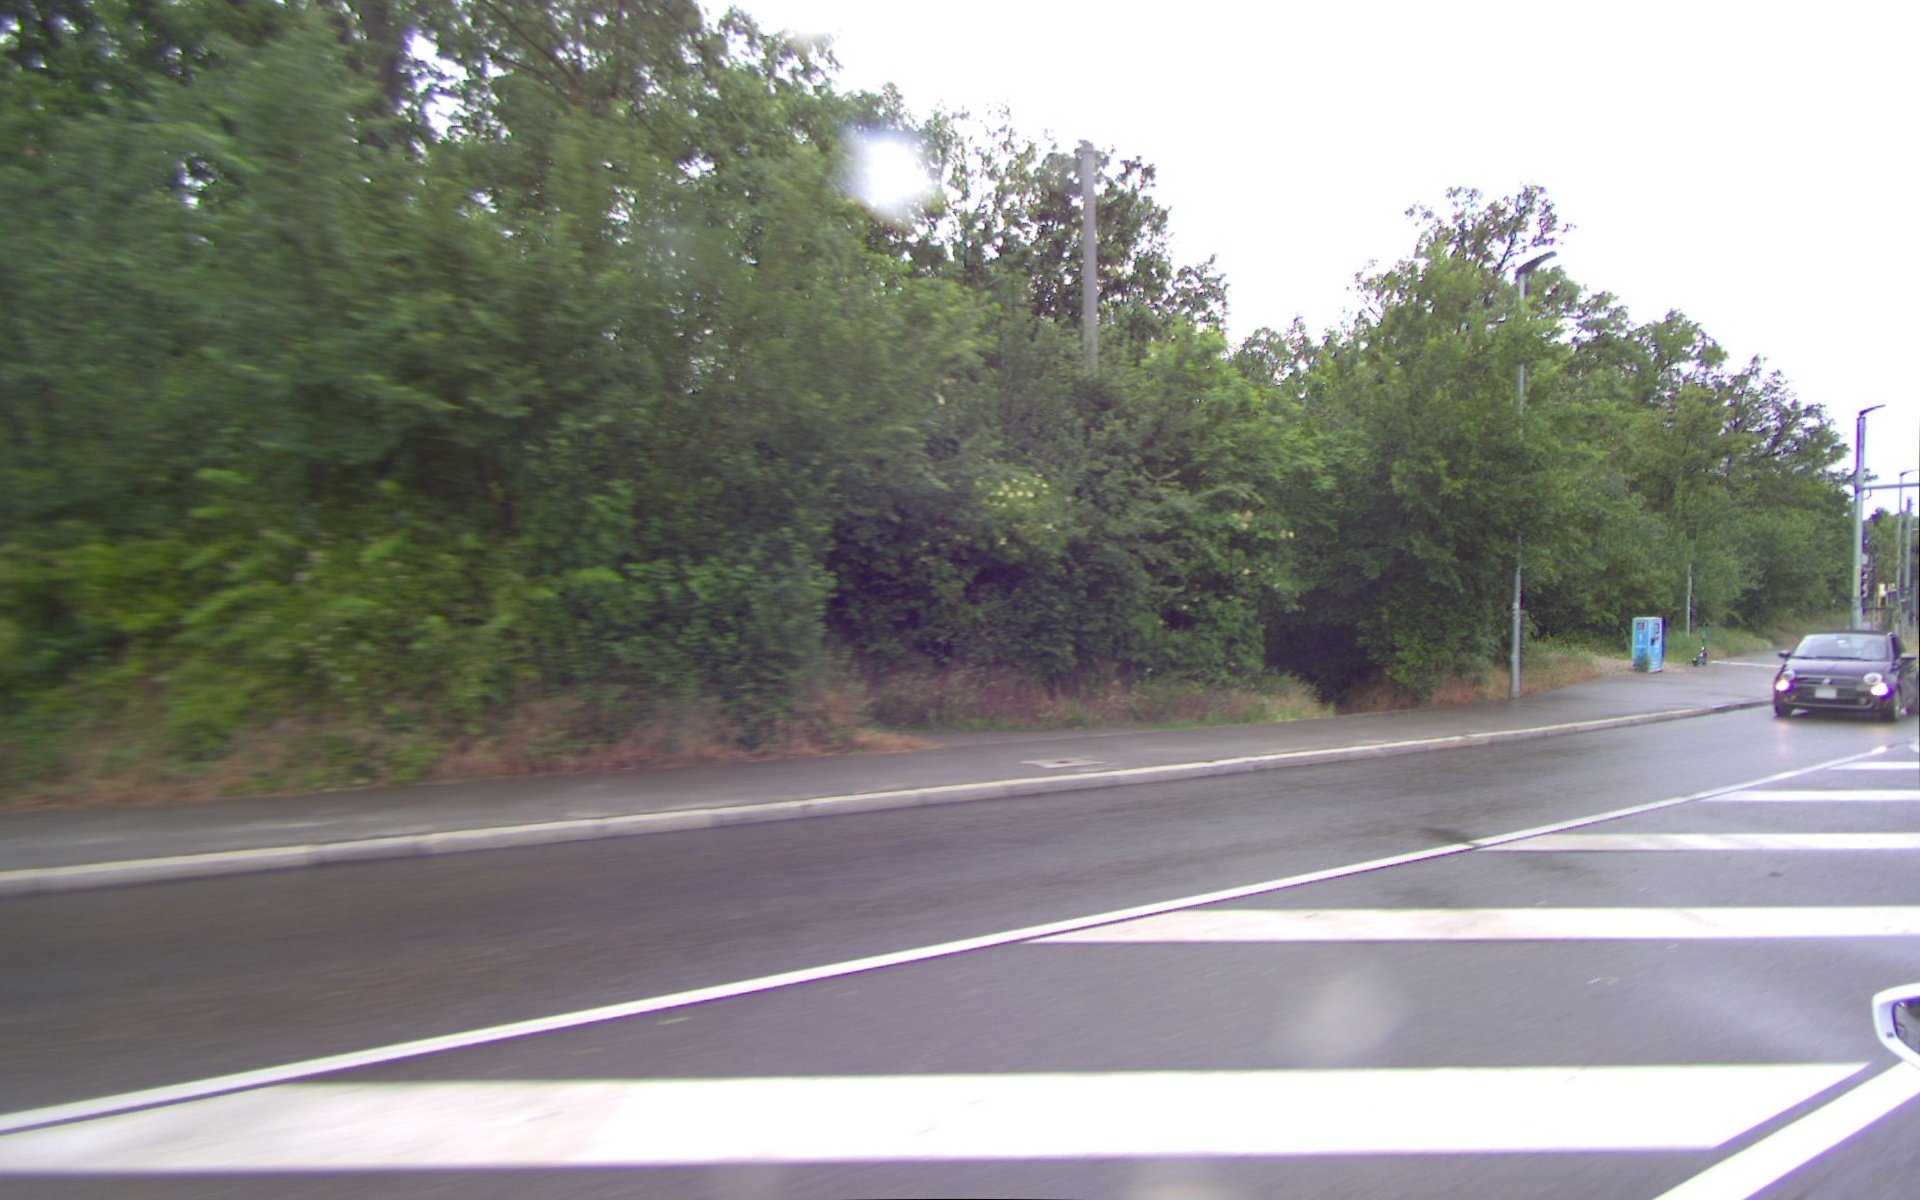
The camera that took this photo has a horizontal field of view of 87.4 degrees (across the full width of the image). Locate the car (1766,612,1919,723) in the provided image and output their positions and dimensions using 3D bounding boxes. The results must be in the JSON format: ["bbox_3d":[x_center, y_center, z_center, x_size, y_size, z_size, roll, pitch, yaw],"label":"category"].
[{"bbox_3d":[15.718,1.099,17.789,3.743,1.753,1.563,0,-1,-40],"label":"car"}]

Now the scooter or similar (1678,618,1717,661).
[{"bbox_3d":[22.124,1.169,30.127,1.455,1.228,0.514,0,0,-36],"label":"scooter or similar"}]
